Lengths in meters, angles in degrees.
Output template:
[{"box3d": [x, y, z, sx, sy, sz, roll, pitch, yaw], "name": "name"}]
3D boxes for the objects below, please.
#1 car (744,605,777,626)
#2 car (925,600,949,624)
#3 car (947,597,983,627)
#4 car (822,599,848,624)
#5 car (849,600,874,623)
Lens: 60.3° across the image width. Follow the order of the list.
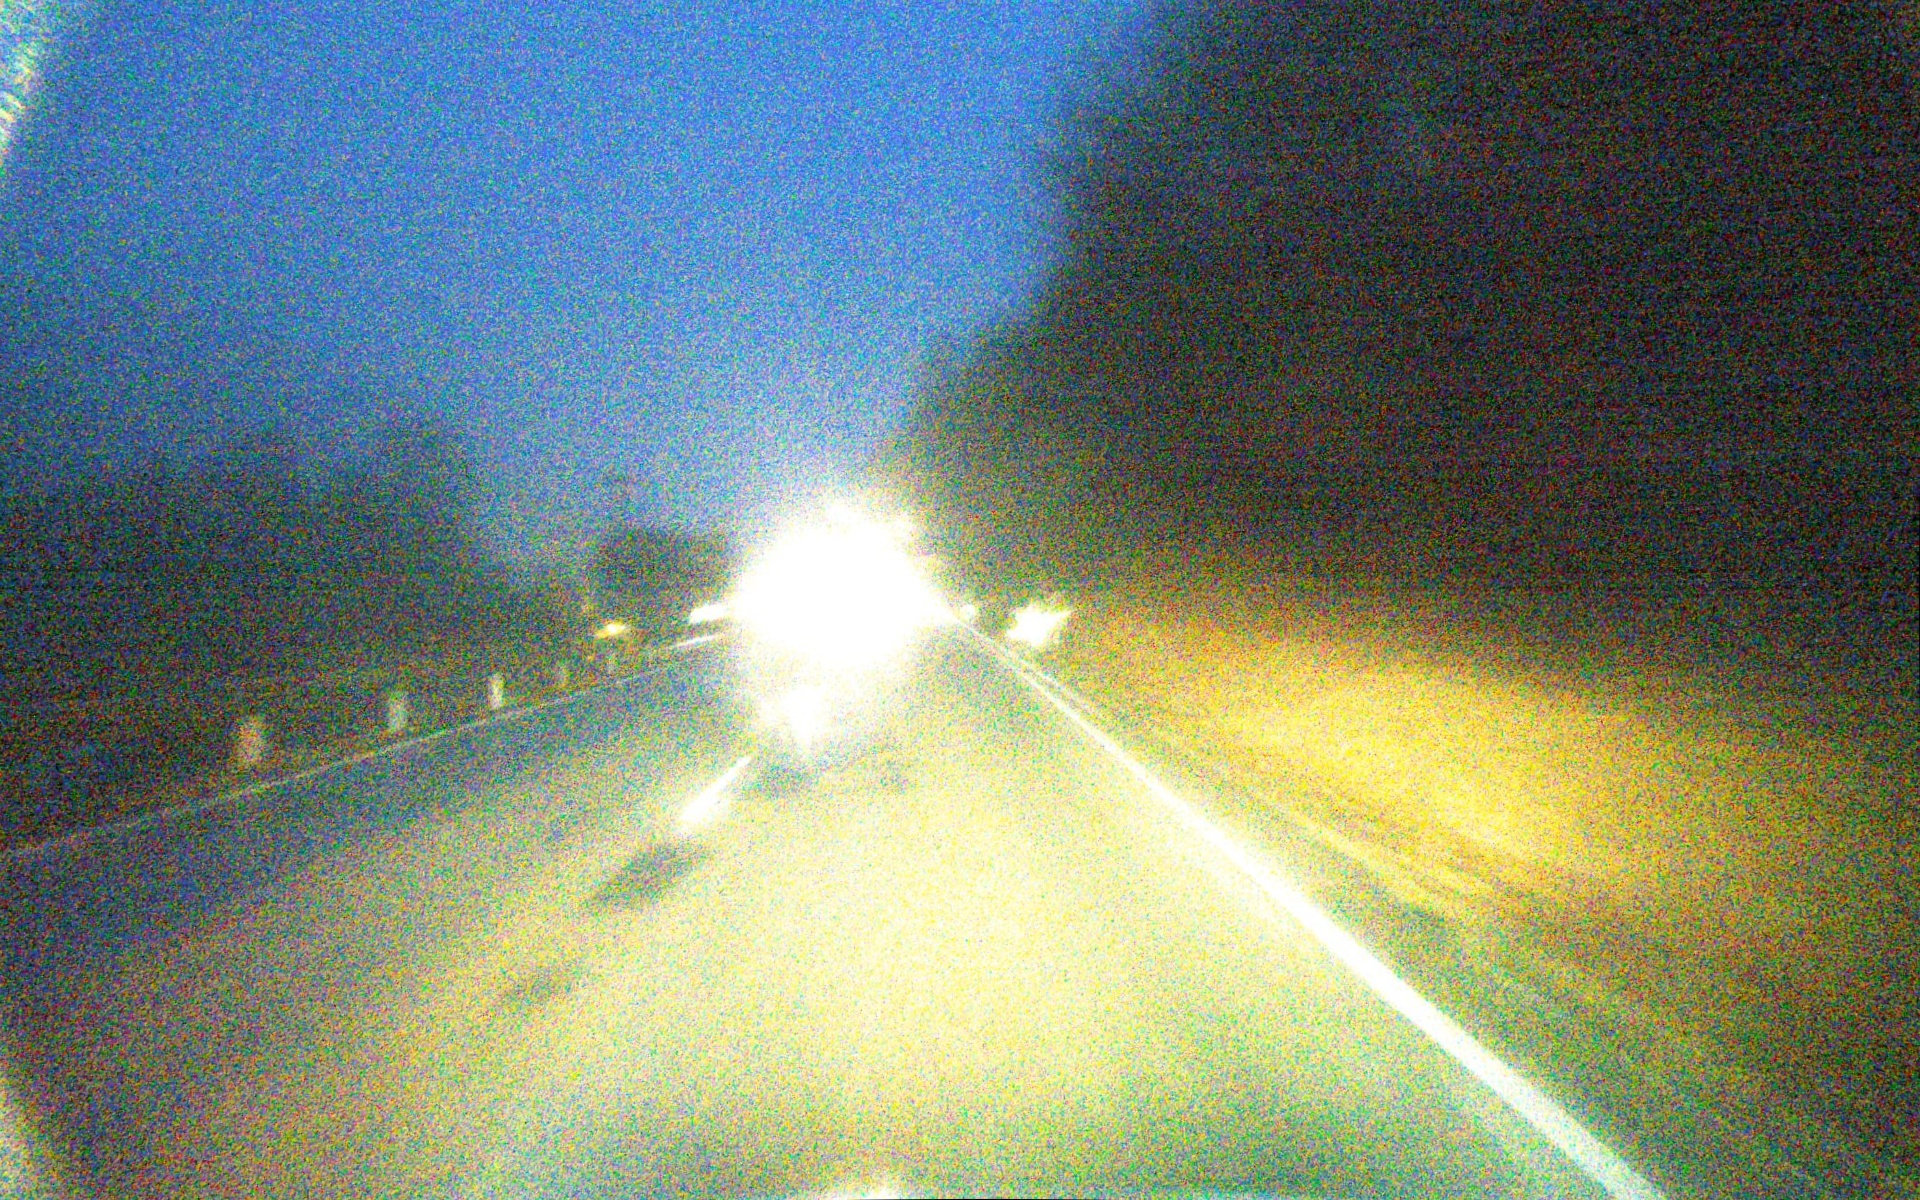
[{"box3d": [-14.797, 1.123, 122.790, 1.953, 1.473, 4.428, 1, 0, -1], "name": "car"}, {"box3d": [-1.996, 1.031, 142.417, 1.953, 2.049, 3.999, 1, 0, -1], "name": "car"}, {"box3d": [0.292, 0.646, 91.903, 1.952, 1.646, 4.000, 0, 0, 1], "name": "car"}, {"box3d": [-10.717, 0.959, 141.641, 1.953, 2.049, 3.999, 1, 0, -1], "name": "car"}, {"box3d": [-8.735, 1.016, 146.959, 1.953, 2.049, 3.999, 1, 0, -1], "name": "car"}]
